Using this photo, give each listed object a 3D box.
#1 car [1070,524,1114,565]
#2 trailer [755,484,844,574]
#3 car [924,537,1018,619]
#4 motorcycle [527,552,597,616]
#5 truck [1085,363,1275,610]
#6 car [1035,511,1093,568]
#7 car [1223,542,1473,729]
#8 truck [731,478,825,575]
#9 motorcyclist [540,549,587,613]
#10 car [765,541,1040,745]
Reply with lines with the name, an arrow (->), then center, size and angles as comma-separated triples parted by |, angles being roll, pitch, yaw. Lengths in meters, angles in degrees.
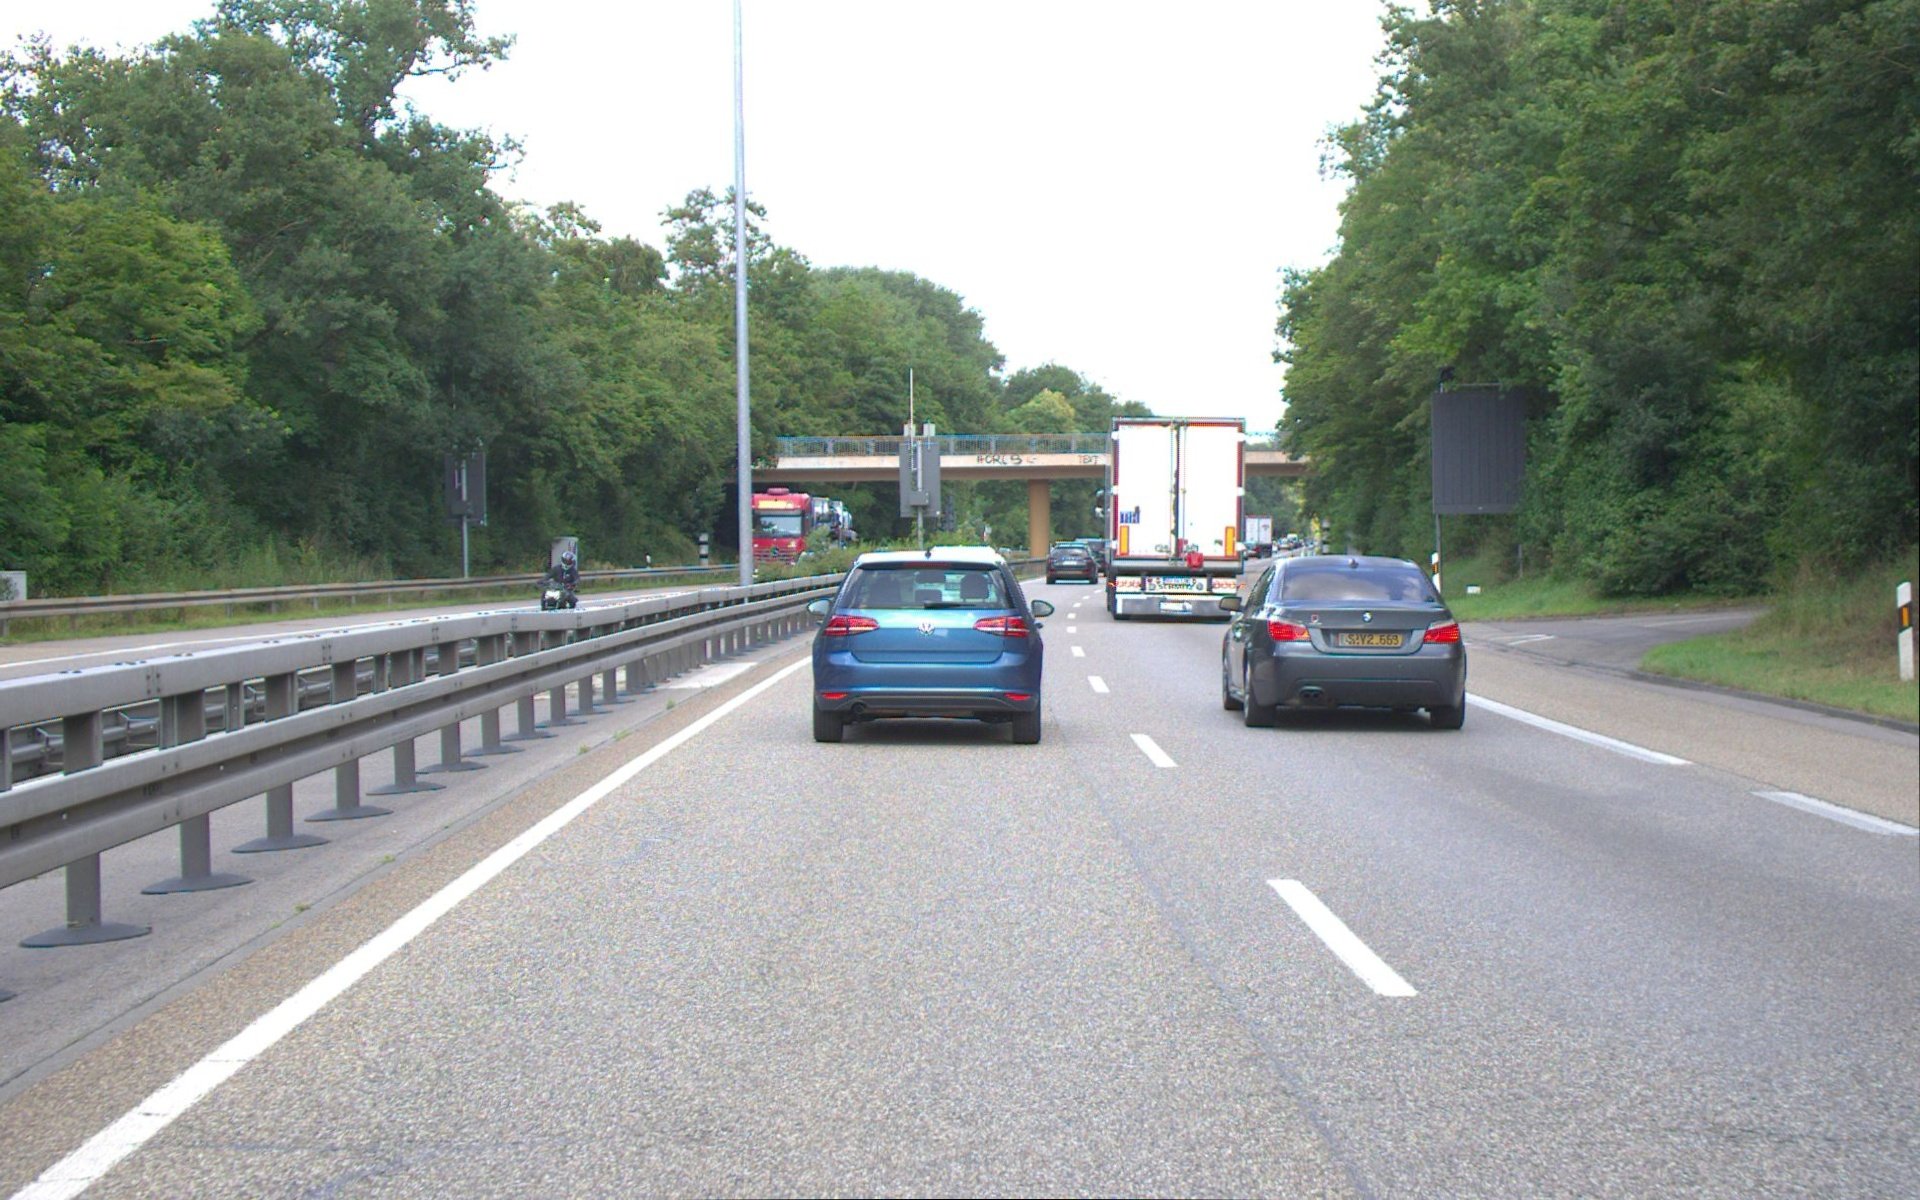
car -> 5.923, -2.486, 153.558 | 1.766, 1.766, 4.023 | -1, 1, 5
trailer -> -7.124, -3.159, 153.611 | 2.938, 3.820, 10.310 | -1, 1, 3
car -> 0.243, -0.441, 65.663 | 1.665, 1.495, 4.152 | 0, 1, 2
motorcycle -> -7.772, -0.321, 67.283 | 1.000, 1.197, 2.998 | -1, 1, 0
truck -> 4.406, -2.286, 71.325 | 3.242, 4.700, 11.007 | -1, 1, 0
car -> 3.848, -2.237, 126.852 | 1.954, 2.007, 4.000 | -1, 1, 4
car -> 3.317, 0.247, 30.165 | 1.774, 1.470, 4.880 | 1, 1, 2
truck -> -7.520, -3.035, 143.360 | 2.955, 3.842, 10.323 | -1, 1, 2
motorcyclist -> -7.725, -0.371, 67.010 | 0.825, 1.222, 0.720 | -1, 1, 0
car -> -0.379, 0.277, 27.180 | 1.705, 1.465, 3.999 | 1, 1, 6
